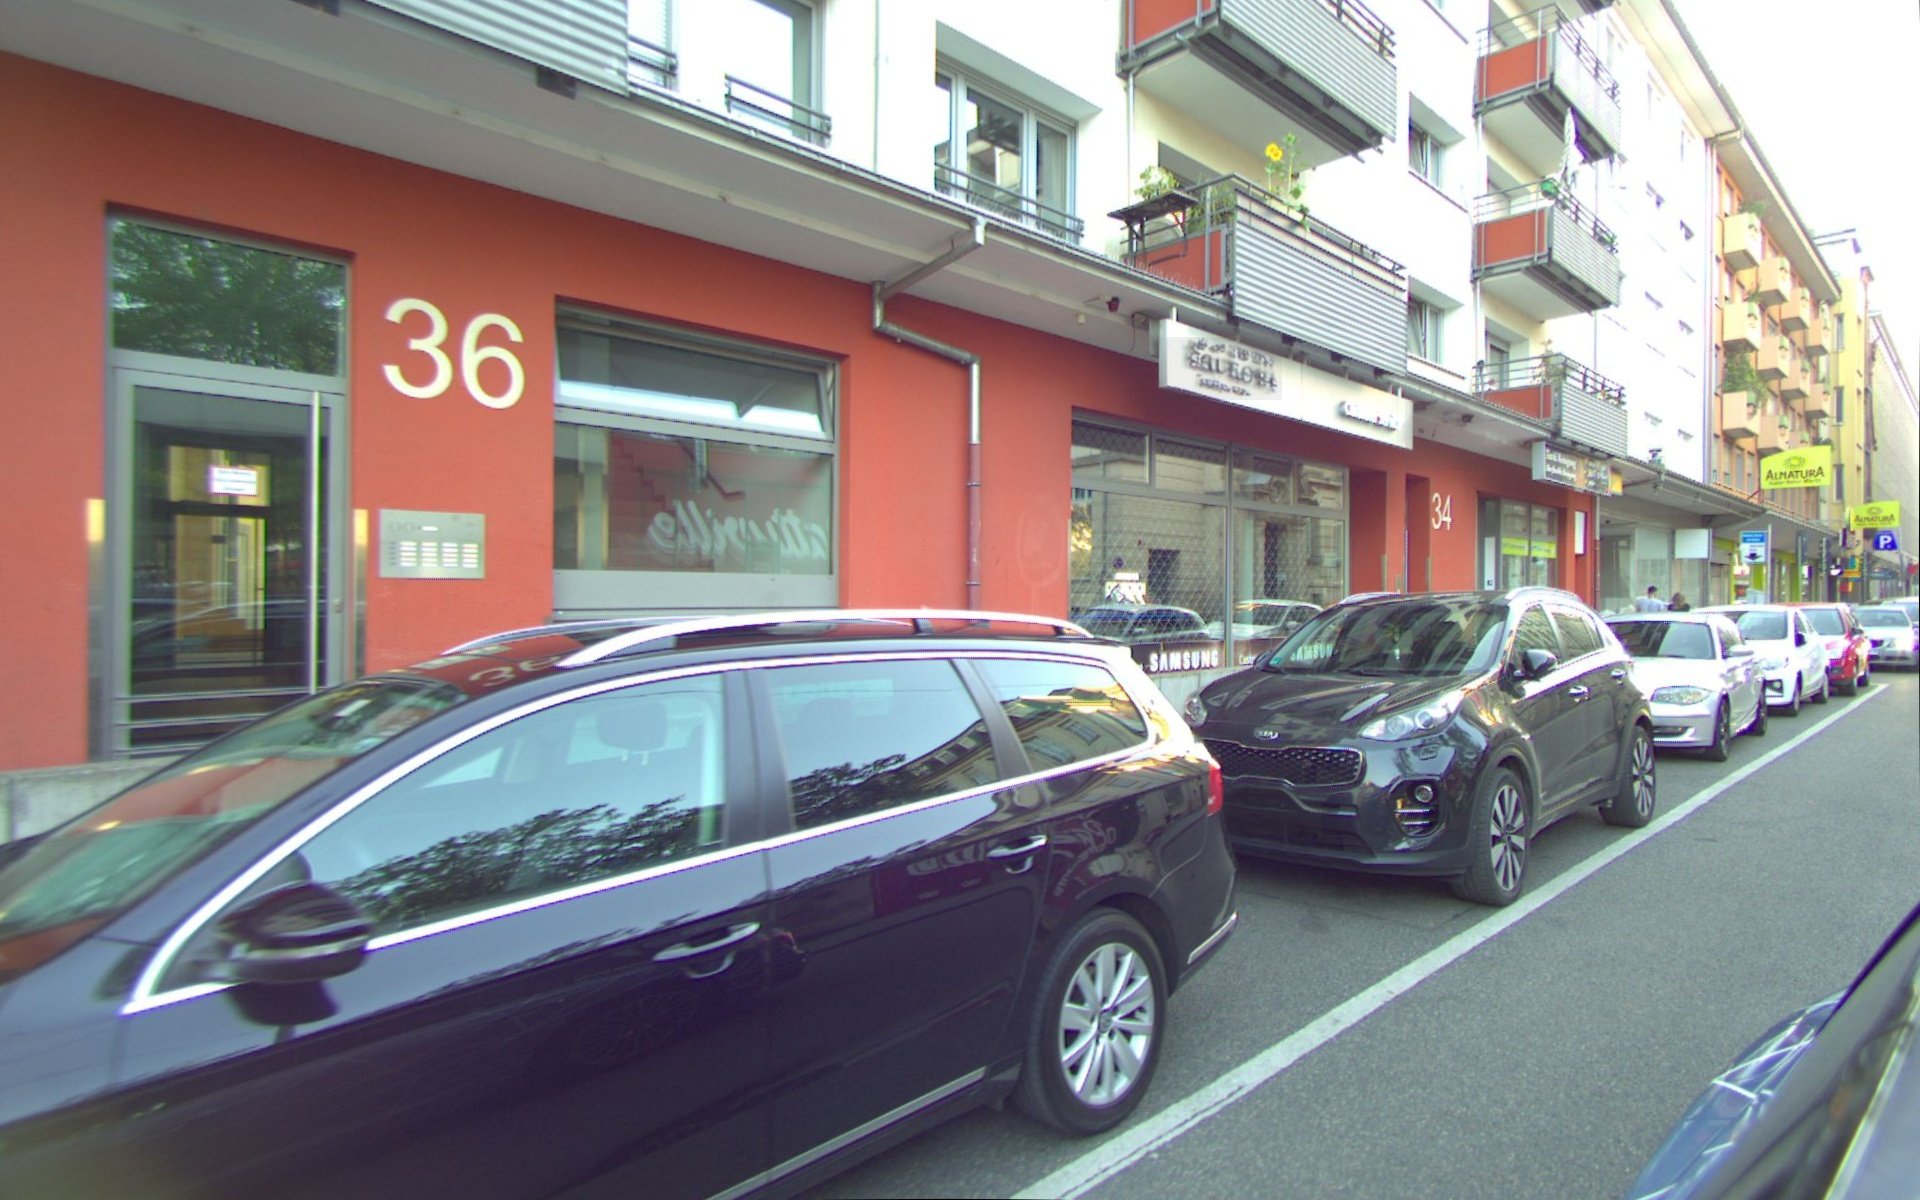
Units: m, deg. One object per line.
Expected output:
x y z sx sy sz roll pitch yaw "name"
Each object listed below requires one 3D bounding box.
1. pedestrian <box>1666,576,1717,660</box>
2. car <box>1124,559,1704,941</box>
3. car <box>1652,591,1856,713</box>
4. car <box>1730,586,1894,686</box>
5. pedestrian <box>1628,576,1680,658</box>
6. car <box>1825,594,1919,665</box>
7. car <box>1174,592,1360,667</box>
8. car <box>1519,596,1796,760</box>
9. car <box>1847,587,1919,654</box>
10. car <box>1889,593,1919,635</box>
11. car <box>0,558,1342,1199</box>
15.133 0.354 20.934 0.643 1.681 0.649 0 3 -41 "pedestrian"
3.268 0.693 6.696 4.709 1.663 1.766 0 -2 -43 "car"
11.583 0.688 14.671 3.978 1.532 1.608 0 -2 -42 "car"
14.916 0.586 17.631 4.575 1.532 1.713 1 -2 -44 "car"
14.703 0.343 21.437 0.780 1.681 0.649 0 3 -41 "pedestrian"
20.788 0.633 22.657 4.605 1.433 1.737 1 -2 -44 "car"
6.236 0.537 20.370 3.930 1.353 1.743 0 0 -41 "car"
7.853 0.736 11.208 4.385 1.471 1.699 1 -2 -45 "car"
24.710 0.512 26.201 4.404 1.631 1.798 0 -2 -38 "car"
34.600 0.488 36.103 4.674 1.433 1.693 0 -2 -42 "car"
-0.962 0.741 2.738 4.708 1.522 1.767 0 -2 -42 "car"
